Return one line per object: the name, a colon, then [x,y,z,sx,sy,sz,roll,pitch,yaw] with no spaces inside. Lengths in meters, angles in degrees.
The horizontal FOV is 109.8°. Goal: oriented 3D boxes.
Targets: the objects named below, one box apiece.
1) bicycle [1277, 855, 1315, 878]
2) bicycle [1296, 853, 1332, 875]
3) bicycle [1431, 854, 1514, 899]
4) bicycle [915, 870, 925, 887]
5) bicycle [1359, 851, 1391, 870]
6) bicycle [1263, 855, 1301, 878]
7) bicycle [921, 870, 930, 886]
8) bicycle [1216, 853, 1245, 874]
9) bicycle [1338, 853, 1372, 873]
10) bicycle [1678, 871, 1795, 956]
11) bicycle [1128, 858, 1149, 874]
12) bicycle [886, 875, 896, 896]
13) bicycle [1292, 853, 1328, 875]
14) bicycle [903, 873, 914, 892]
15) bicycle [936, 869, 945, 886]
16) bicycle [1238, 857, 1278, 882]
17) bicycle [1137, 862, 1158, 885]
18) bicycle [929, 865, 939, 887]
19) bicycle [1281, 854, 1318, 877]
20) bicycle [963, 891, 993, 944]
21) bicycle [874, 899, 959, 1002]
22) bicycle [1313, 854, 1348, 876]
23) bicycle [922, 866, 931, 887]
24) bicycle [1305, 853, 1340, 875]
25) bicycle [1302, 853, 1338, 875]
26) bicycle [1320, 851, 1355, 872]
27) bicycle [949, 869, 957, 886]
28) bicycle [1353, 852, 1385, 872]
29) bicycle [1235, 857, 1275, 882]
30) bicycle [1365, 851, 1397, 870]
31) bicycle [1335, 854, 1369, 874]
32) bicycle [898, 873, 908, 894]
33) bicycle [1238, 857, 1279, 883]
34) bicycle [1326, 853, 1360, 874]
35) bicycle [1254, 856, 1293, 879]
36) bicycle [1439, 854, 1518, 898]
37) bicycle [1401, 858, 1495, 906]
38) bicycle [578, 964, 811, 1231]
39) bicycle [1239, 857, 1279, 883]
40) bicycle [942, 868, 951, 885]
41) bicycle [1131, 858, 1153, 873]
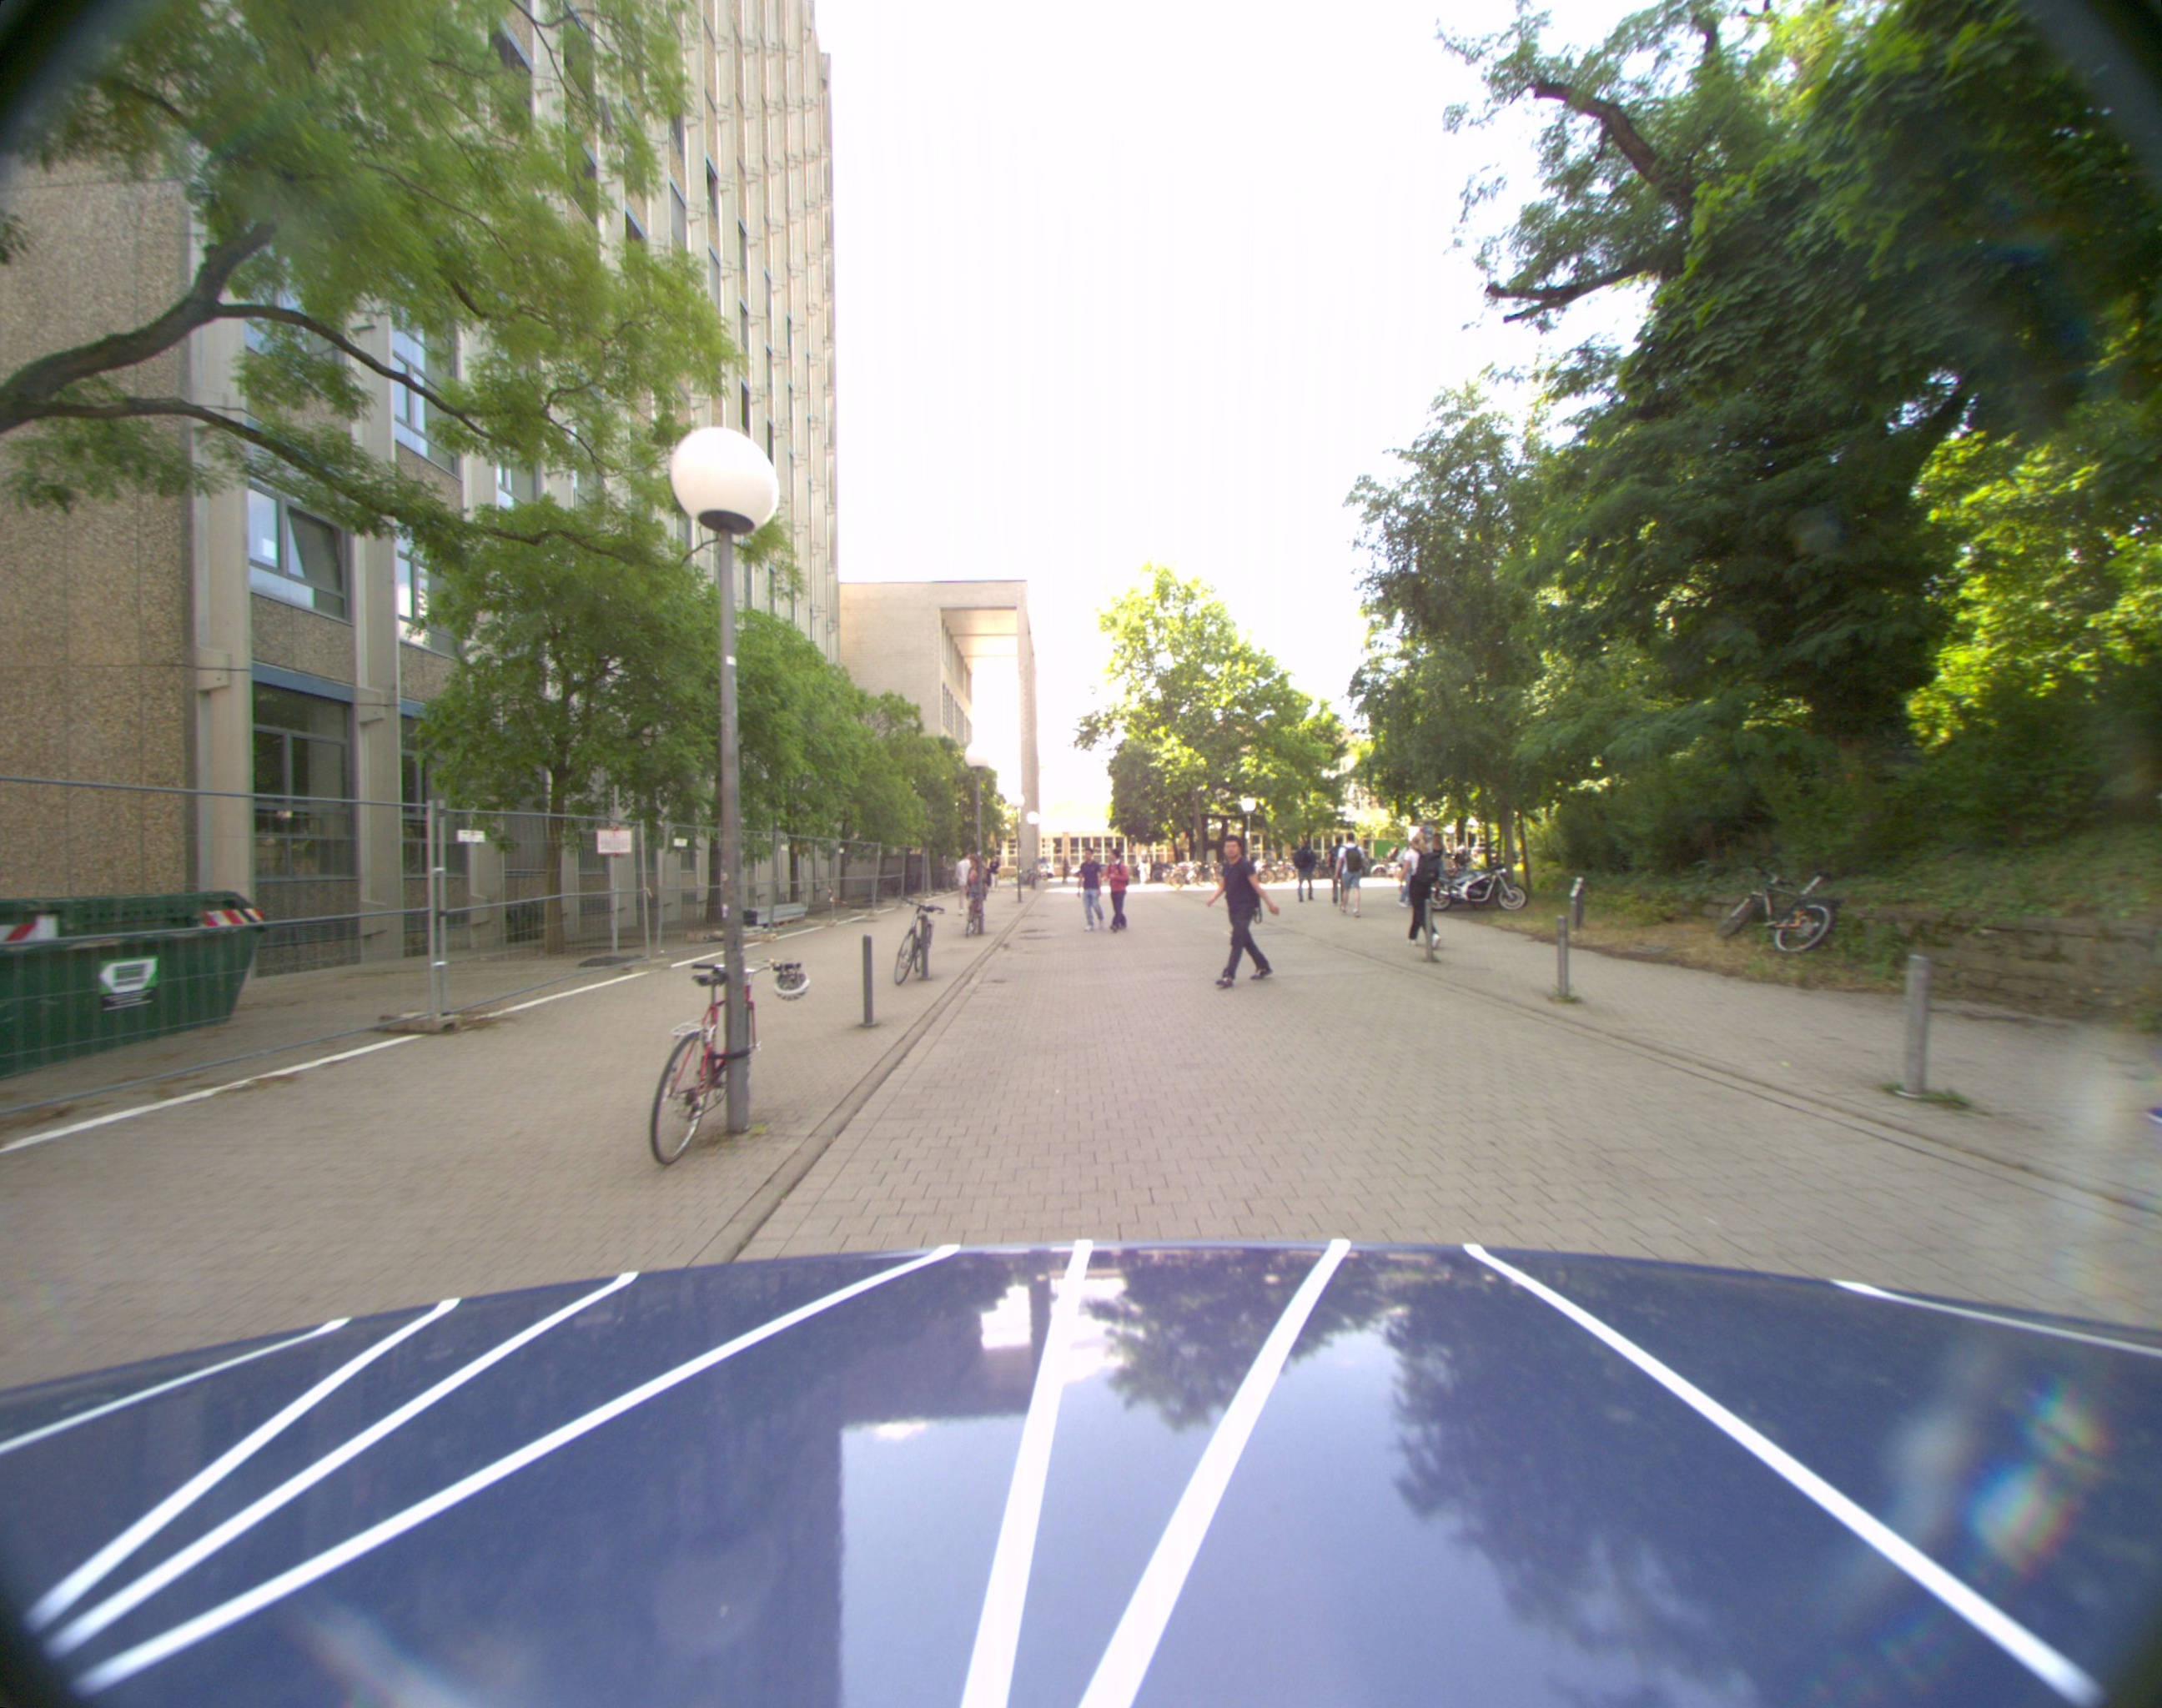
bicycle: [10.628,0.622,37.617,1.695,1.077,0.475,-2,1,37]
bicycle: [12.167,0.537,39.709,1.695,1.077,0.475,-2,1,34]
bicycle: [9.586,0.569,18.643,0.475,1.041,1.695,-5,1,-41]
bicycle: [-8.722,1.339,41.197,0.291,0.882,1.447,-2,0,-4]
bicycle: [17.292,0.408,44.746,0.475,1.077,1.695,-3,1,-40]
bicycle: [9.736,0.600,36.799,1.695,1.077,0.475,-2,1,41]
bicycle: [-8.760,1.346,42.760,0.291,0.900,1.447,-2,0,-4]
bicycle: [8.930,0.570,45.427,0.577,1.193,1.695,-3,1,-40]
bicycle: [15.512,0.496,43.013,1.695,1.077,0.475,-2,1,42]
bicycle: [8.478,0.731,9.905,0.422,0.905,1.741,-2,2,15]
bicycle: [4.501,0.937,59.325,1.628,1.101,0.497,-2,1,4]
bicycle: [-8.487,1.398,33.931,0.291,0.900,1.618,-2,0,-9]
bicycle: [11.825,0.542,39.314,1.695,1.077,0.475,-2,1,34]
bicycle: [-8.854,1.450,38.948,0.291,0.900,1.447,-2,0,-4]
bicycle: [-7.889,1.315,42.764,0.291,0.900,1.447,-2,0,-4]
bicycle: [8.080,0.708,34.655,1.696,1.077,0.475,-2,1,19]
bicycle: [3.275,0.952,37.492,0.604,1.077,1.698,-3,0,-9]
bicycle: [-7.984,1.197,41.266,0.291,1.121,1.447,-2,0,-4]
bicycle: [11.084,0.590,38.536,1.695,1.077,0.475,-2,1,34]
bicycle: [-2.099,1.275,15.613,0.396,0.930,1.732,0,0,-1]
bicycle: [-2.075,1.186,9.830,0.710,1.086,1.748,-2,0,-1]
bicycle: [13.444,0.598,40.915,1.695,1.077,0.475,-2,1,34]
bicycle: [-8.376,1.213,41.209,0.291,1.088,1.447,-2,0,-4]
bicycle: [12.917,0.533,40.623,1.695,1.077,0.475,-2,1,34]
bicycle: [12.654,0.529,40.220,1.695,1.077,0.475,-2,1,34]
bicycle: [14.073,0.416,41.732,1.695,1.077,0.475,-2,1,34]
bicycle: [-7.198,1.291,42.628,0.291,0.900,1.447,-2,0,-4]
bicycle: [16.733,0.476,44.147,0.475,1.077,1.695,-3,1,-40]
bicycle: [8.065,0.711,35.211,1.696,1.077,0.475,-2,1,19]
bicycle: [17.780,0.416,45.093,0.475,1.077,1.695,-3,1,-40]
bicycle: [15.183,0.569,42.595,1.695,1.077,0.475,-2,1,42]
bicycle: [-8.435,1.394,36.069,0.291,0.900,1.803,-2,1,-9]
bicycle: [7.968,0.715,34.094,1.721,1.077,0.474,-2,1,14]
bicycle: [14.521,0.522,42.158,1.695,1.077,0.475,-2,1,34]
bicycle: [9.101,0.643,35.921,1.695,1.077,0.475,-2,1,41]
bicycle: [9.985,0.555,19.133,0.475,1.041,1.695,-3,1,-41]
bicycle: [8.577,0.645,17.827,0.543,1.041,1.903,-3,1,-41]
bicycle: [-2.054,1.227,4.300,0.452,0.956,1.740,1,0,-1]
bicycle: [7.873,0.706,33.646,1.697,1.104,0.474,-2,1,12]
bicycle: [-7.538,1.263,42.633,0.291,0.900,1.447,-2,0,-4]
bicycle: [4.708,0.916,58.757,1.628,1.101,0.497,-2,1,4]
